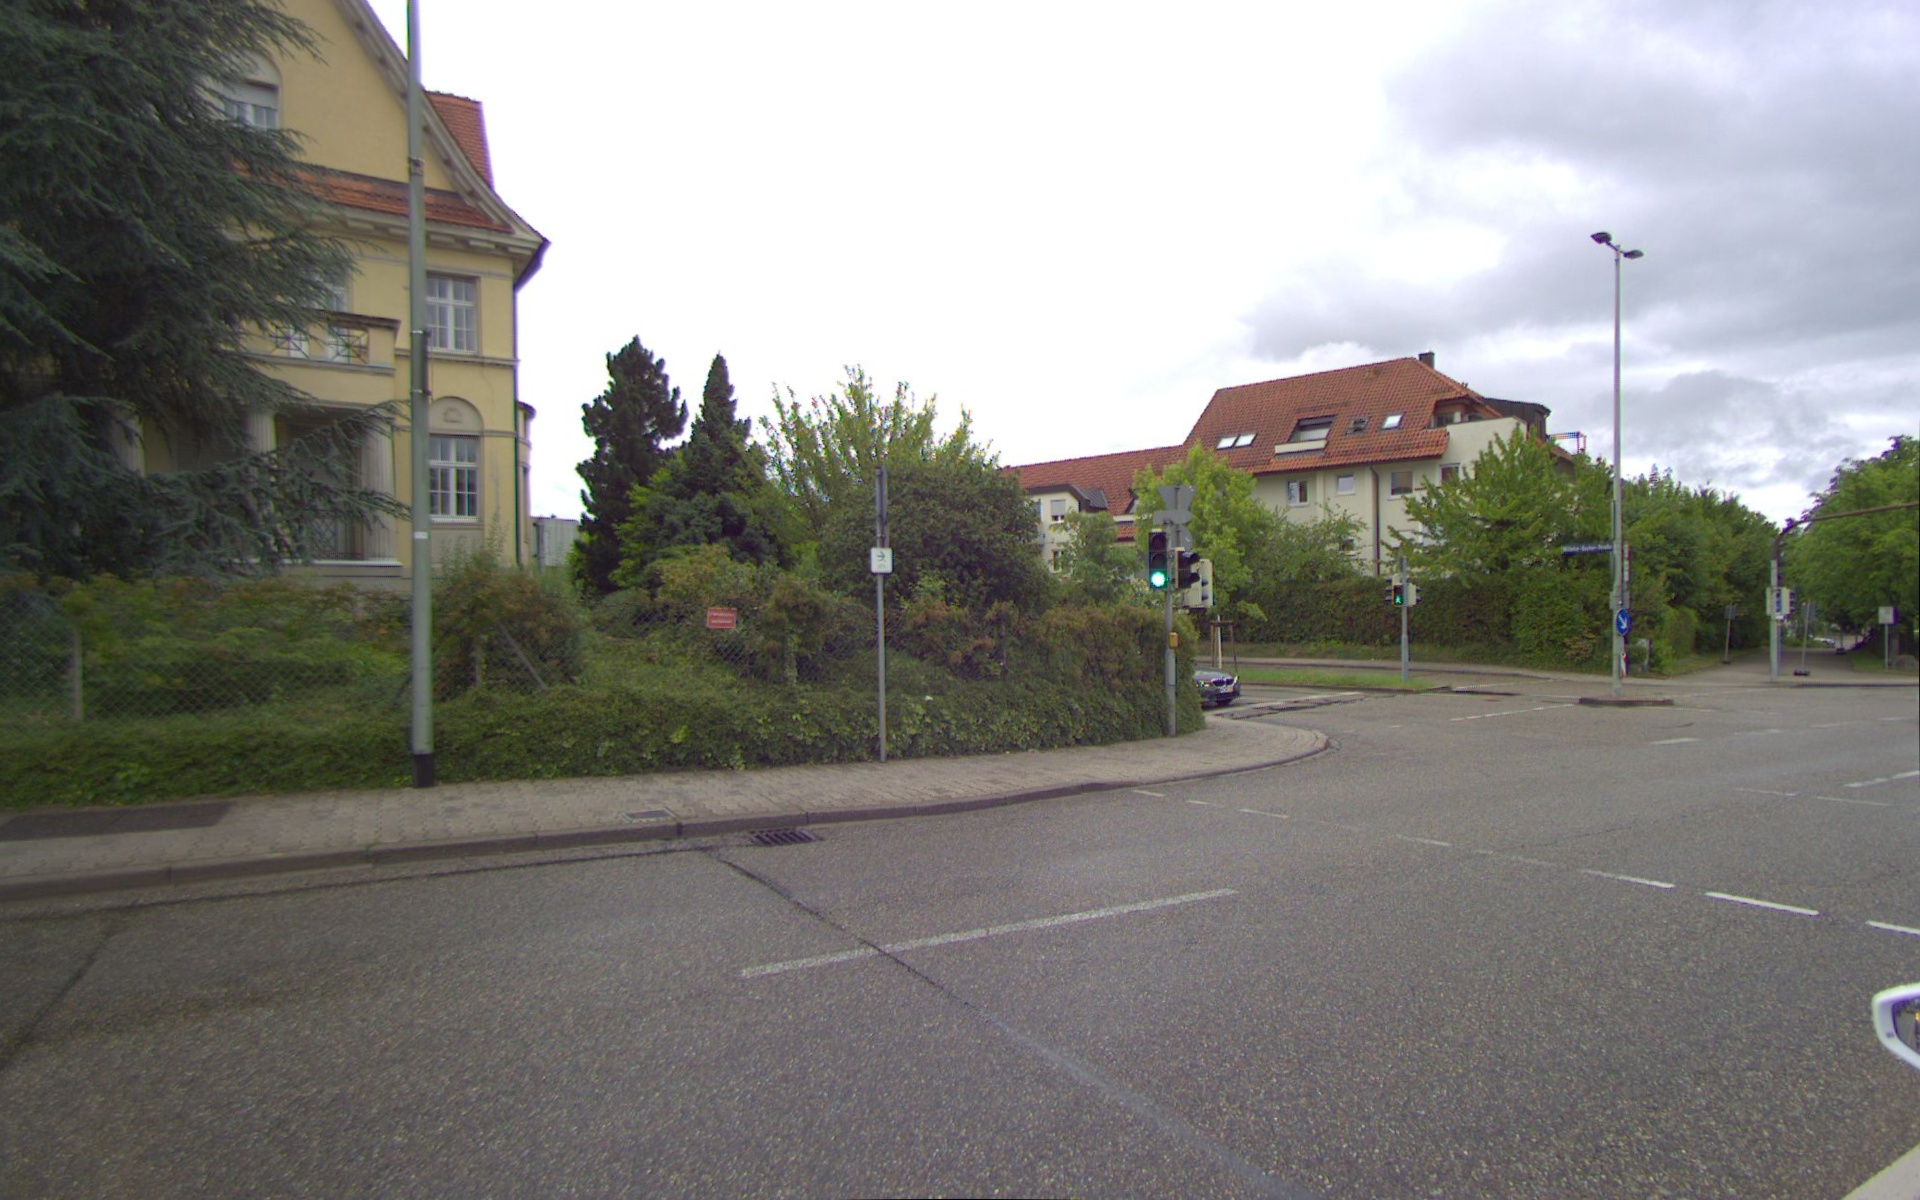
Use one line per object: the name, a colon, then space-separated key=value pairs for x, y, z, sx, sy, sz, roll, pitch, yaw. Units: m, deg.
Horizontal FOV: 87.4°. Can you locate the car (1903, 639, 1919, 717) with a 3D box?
car: x=19.442 y=1.469 z=18.745 sx=3.758 sy=1.415 sz=1.737 roll=1 pitch=-1 yaw=-31

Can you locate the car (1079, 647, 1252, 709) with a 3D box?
car: x=5.262 y=2.001 z=26.232 sx=1.759 sy=1.411 sz=4.392 roll=-1 pitch=-3 yaw=-35
